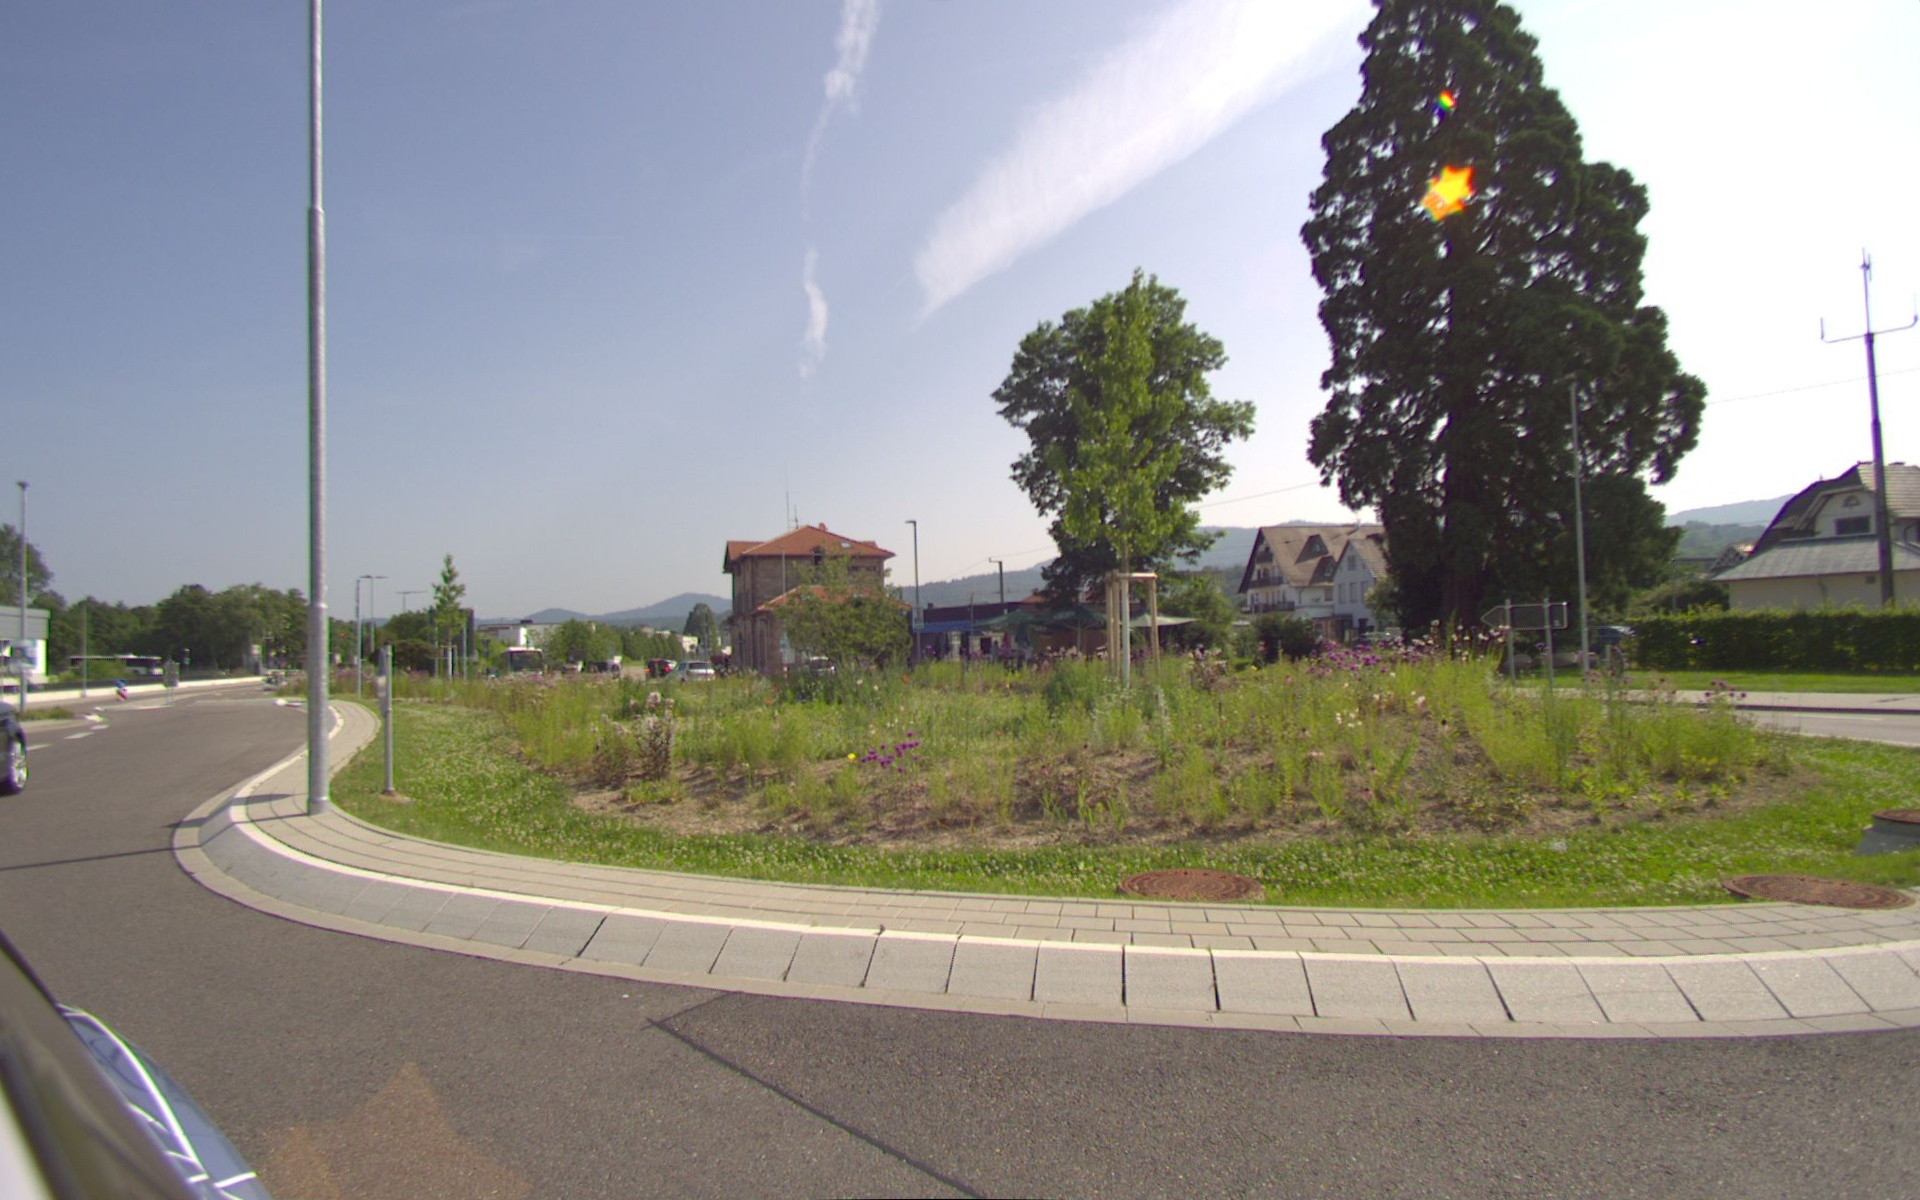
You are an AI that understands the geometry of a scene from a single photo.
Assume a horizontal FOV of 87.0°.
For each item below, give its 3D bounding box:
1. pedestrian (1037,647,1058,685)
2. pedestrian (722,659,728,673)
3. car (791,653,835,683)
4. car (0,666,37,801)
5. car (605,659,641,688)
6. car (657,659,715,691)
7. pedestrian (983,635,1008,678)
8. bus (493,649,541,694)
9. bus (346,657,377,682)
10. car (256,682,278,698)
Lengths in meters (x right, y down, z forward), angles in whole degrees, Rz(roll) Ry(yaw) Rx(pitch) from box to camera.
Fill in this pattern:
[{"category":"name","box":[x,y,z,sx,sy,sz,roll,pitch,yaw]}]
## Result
[{"category":"pedestrian","box":[3.868,2.906,44.786,0.567,1.602,0.642,-5,-2,37]},{"category":"pedestrian","box":[-19.779,5.535,85.182,0.365,1.171,0.508,-3,-2,-19]},{"category":"car","box":[-9.074,4.155,62.433,1.651,1.580,3.663,-3,-1,-25]},{"category":"car","box":[-10.053,1.361,9.116,1.693,1.332,4.236,-2,-1,-30]},{"category":"car","box":[-26.473,5.760,79.666,1.946,1.979,5.168,-4,-2,-11]},{"category":"car","box":[-14.082,3.818,51.870,1.647,1.543,4.010,1,-4,-35]},{"category":"pedestrian","box":[1.693,2.720,48.800,0.708,2.029,0.848,-5,-2,37]},{"category":"bus","box":[-36.909,5.938,84.148,2.544,3.354,10.620,-3,-2,-29]},{"category":"bus","box":[-81.420,9.442,137.801,2.820,3.216,9.146,-2,-2,-26]},{"category":"car","box":[-68.775,8.917,100.444,1.753,1.408,4.010,-3,-2,-34]}]
